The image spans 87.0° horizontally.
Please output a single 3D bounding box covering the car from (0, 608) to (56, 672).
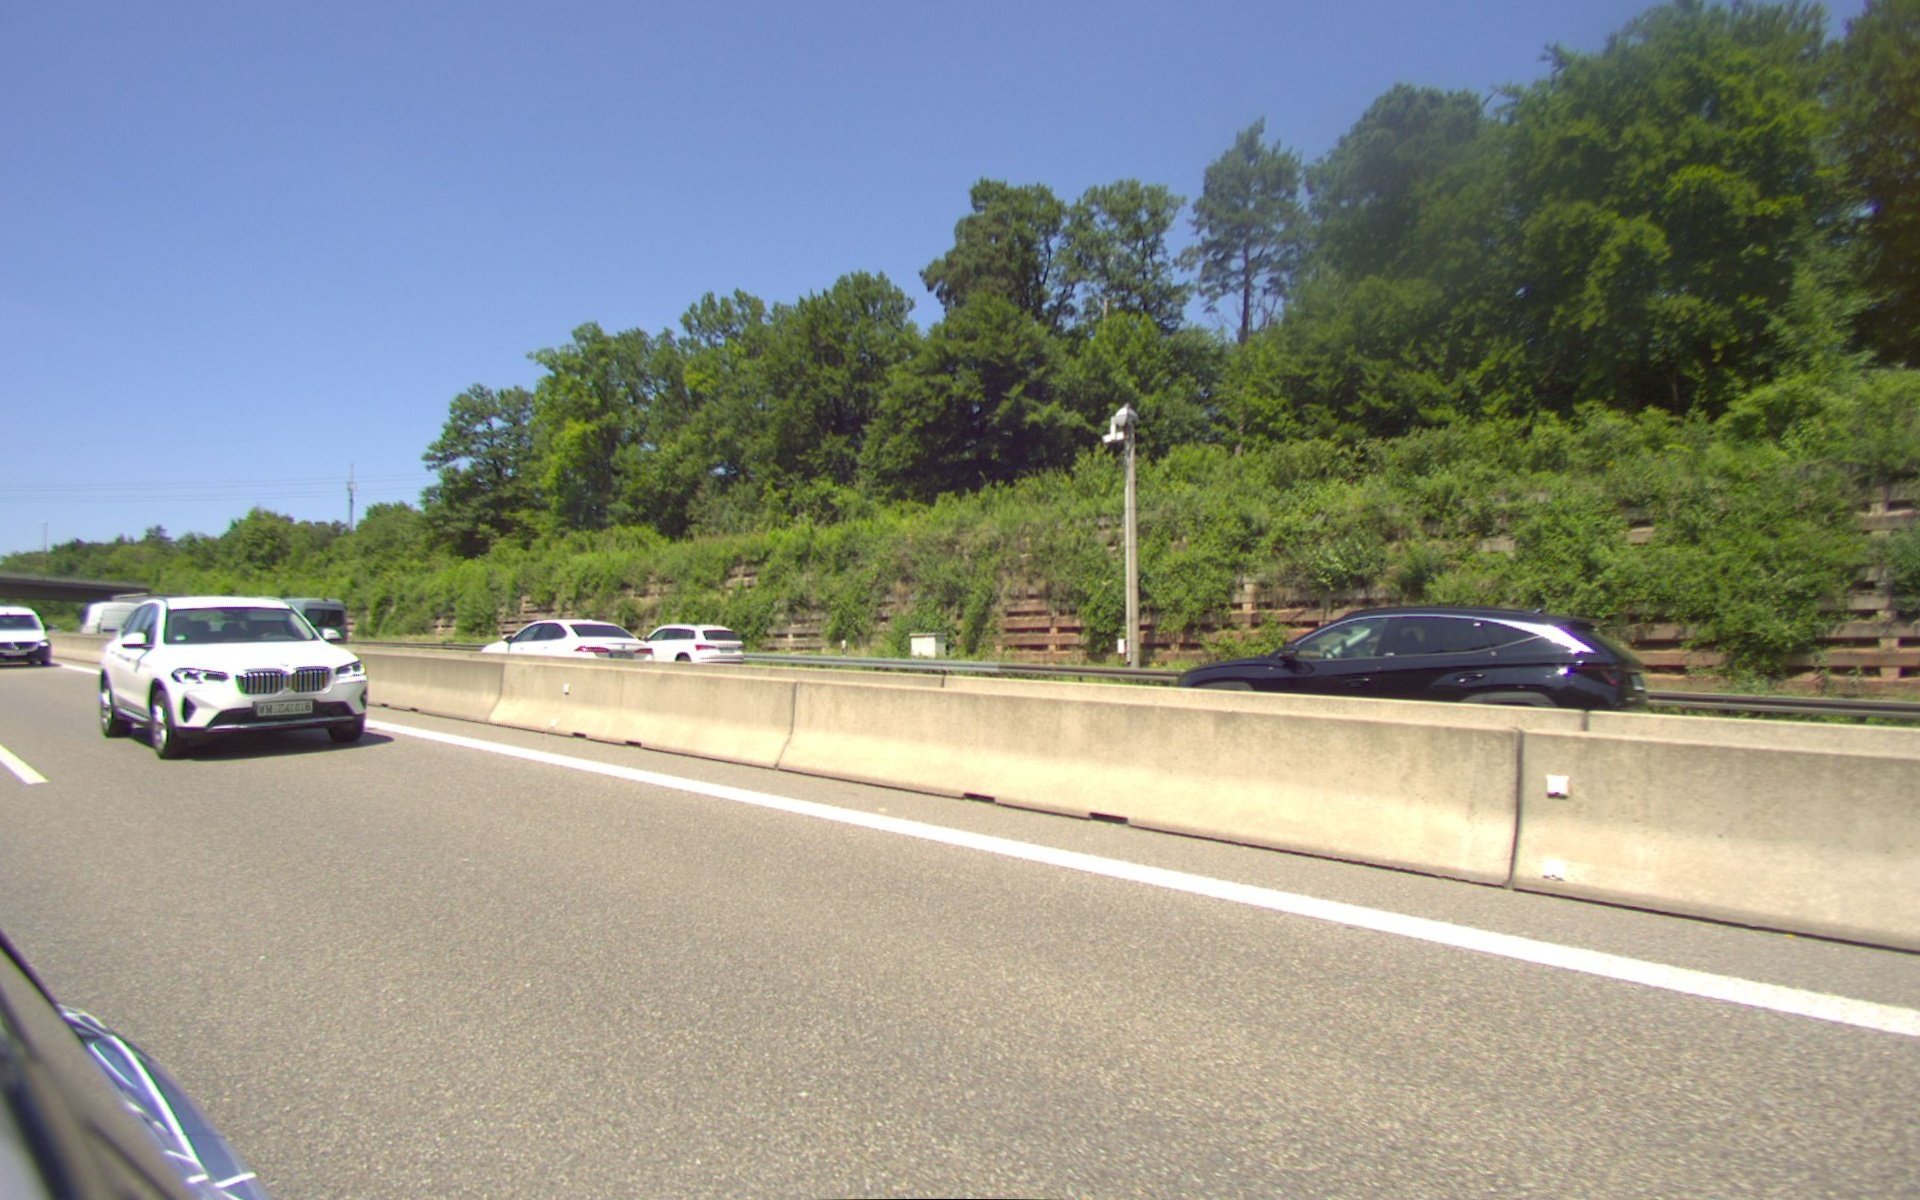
[{"bbox_3d":[-28.831,1.165,30.463,4.501,1.788,1.972,-1,0,43],"label":"car"}]

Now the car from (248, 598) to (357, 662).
[{"bbox_3d":[-29.924,1.372,45.926,7.134,2.704,2.216,-1,-3,41],"label":"car"}]

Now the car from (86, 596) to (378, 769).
[{"bbox_3d":[-8.602,0.823,11.814,4.366,1.656,1.826,-1,-1,41],"label":"car"}]

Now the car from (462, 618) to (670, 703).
[{"bbox_3d":[-8.522,1.217,21.642,5.223,1.617,1.919,-1,-3,41],"label":"car"}]

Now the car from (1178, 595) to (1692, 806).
[{"bbox_3d":[4.504,0.851,10.007,4.301,1.650,1.735,-1,-3,41],"label":"car"}]

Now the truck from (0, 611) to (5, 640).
[{"bbox_3d":[-152.294,3.983,158.621,13.080,4.423,2.594,-1,0,41],"label":"truck"}]

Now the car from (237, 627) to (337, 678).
[{"bbox_3d":[-22.981,1.762,34.502,4.279,1.617,1.714,-1,-3,41],"label":"car"}]

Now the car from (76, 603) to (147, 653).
[{"bbox_3d":[-48.452,1.617,57.749,5.338,2.704,2.216,-1,-3,41],"label":"car"}]

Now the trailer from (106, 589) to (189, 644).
[{"bbox_3d":[-67.791,1.346,84.253,14.177,4.217,2.904,-1,0,41],"label":"trailer"}]

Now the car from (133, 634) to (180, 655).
[{"bbox_3d":[-52.003,2.873,65.473,4.102,1.297,1.625,-1,-3,41],"label":"car"}]

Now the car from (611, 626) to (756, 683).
[{"bbox_3d":[-8.600,1.627,31.273,4.857,1.617,1.919,-1,-3,41],"label":"car"}]
